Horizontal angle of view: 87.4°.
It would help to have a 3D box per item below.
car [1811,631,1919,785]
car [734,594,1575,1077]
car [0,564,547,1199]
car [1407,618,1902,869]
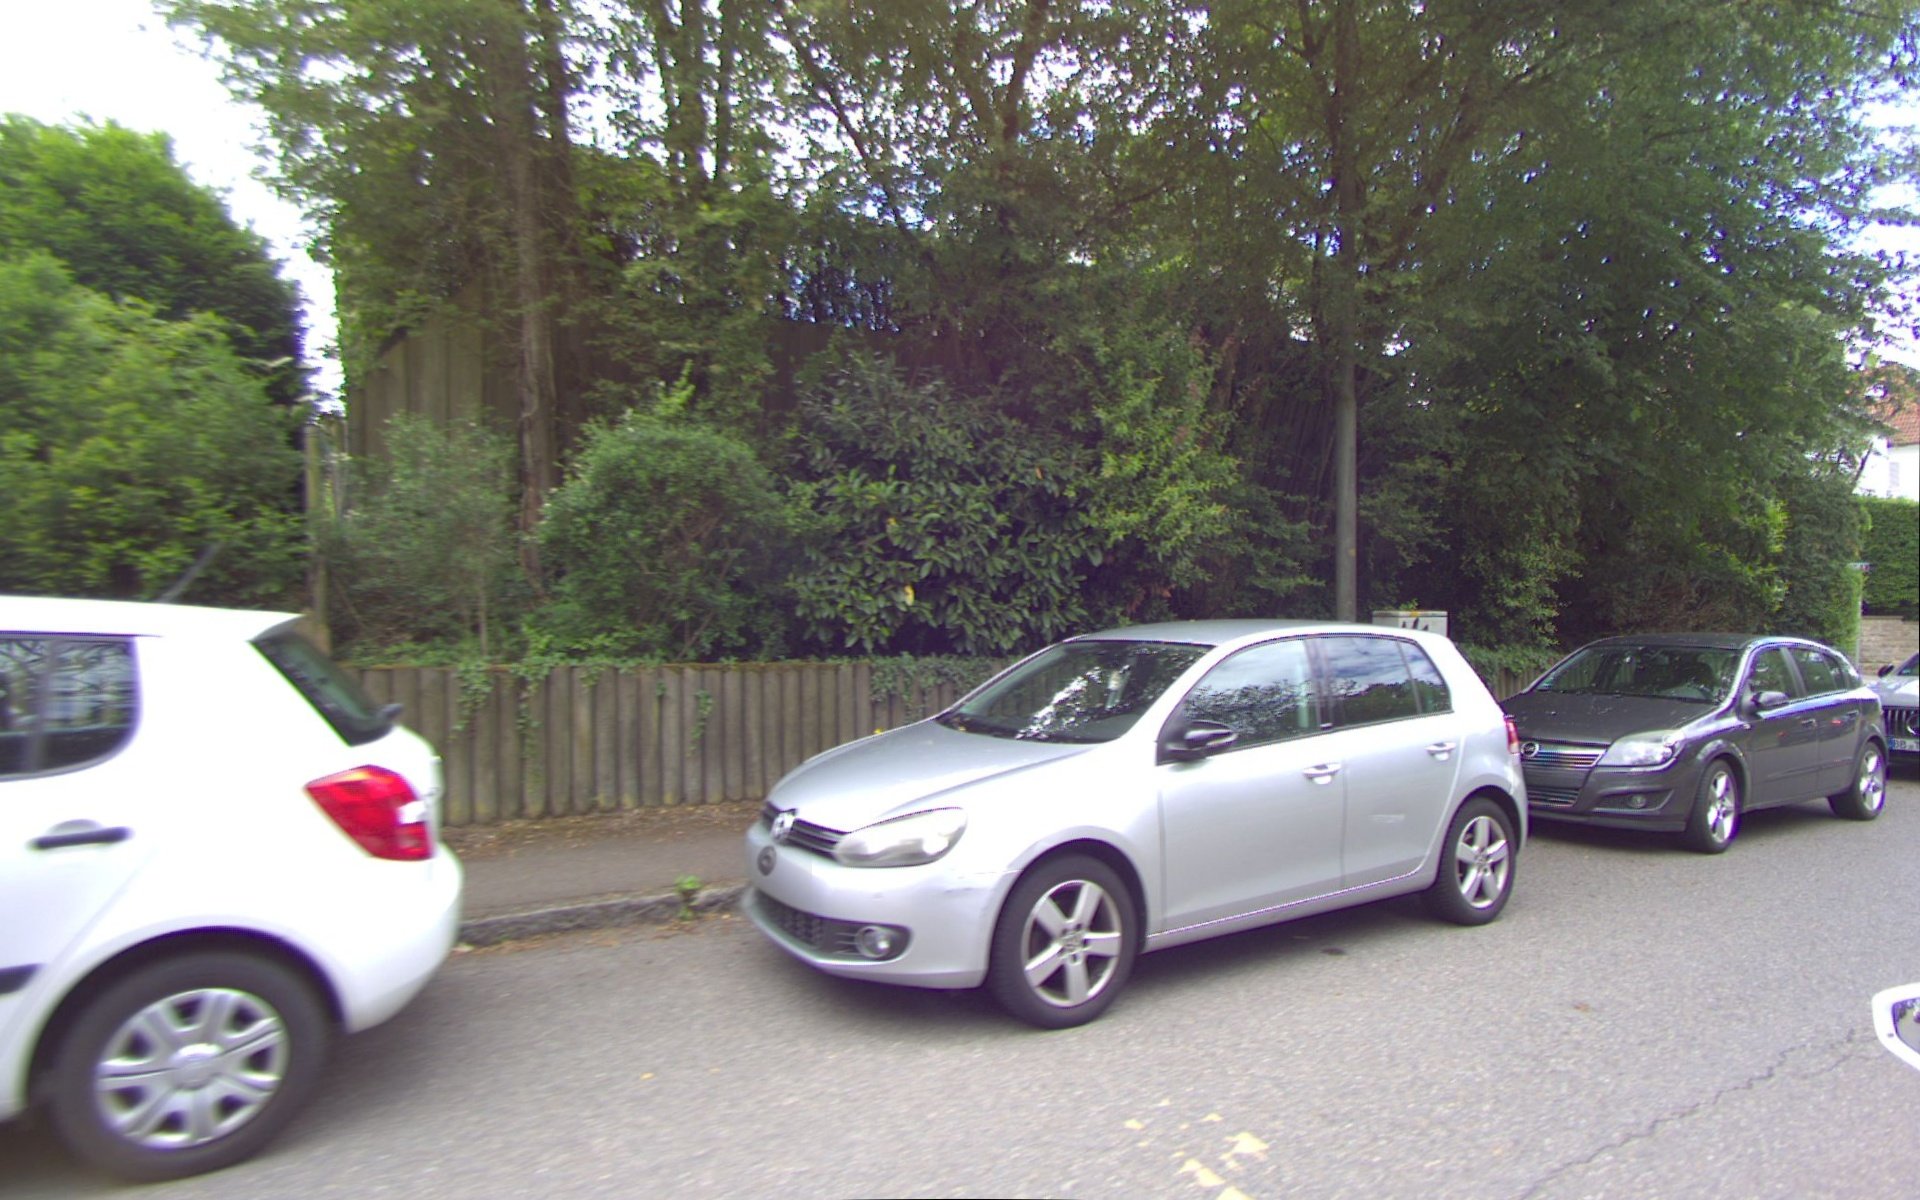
[{"bbox_3d":[11.626,1.124,11.096,4.803,1.524,1.791,2,-2,-29],"label":"car"},{"bbox_3d":[1.079,0.820,4.958,3.962,1.524,1.712,2,-2,-31],"label":"car"},{"bbox_3d":[-3.267,0.691,2.742,3.772,1.524,1.712,1,-2,-30],"label":"car"},{"bbox_3d":[5.540,0.952,7.915,4.014,1.524,1.712,2,-2,-31],"label":"car"}]
